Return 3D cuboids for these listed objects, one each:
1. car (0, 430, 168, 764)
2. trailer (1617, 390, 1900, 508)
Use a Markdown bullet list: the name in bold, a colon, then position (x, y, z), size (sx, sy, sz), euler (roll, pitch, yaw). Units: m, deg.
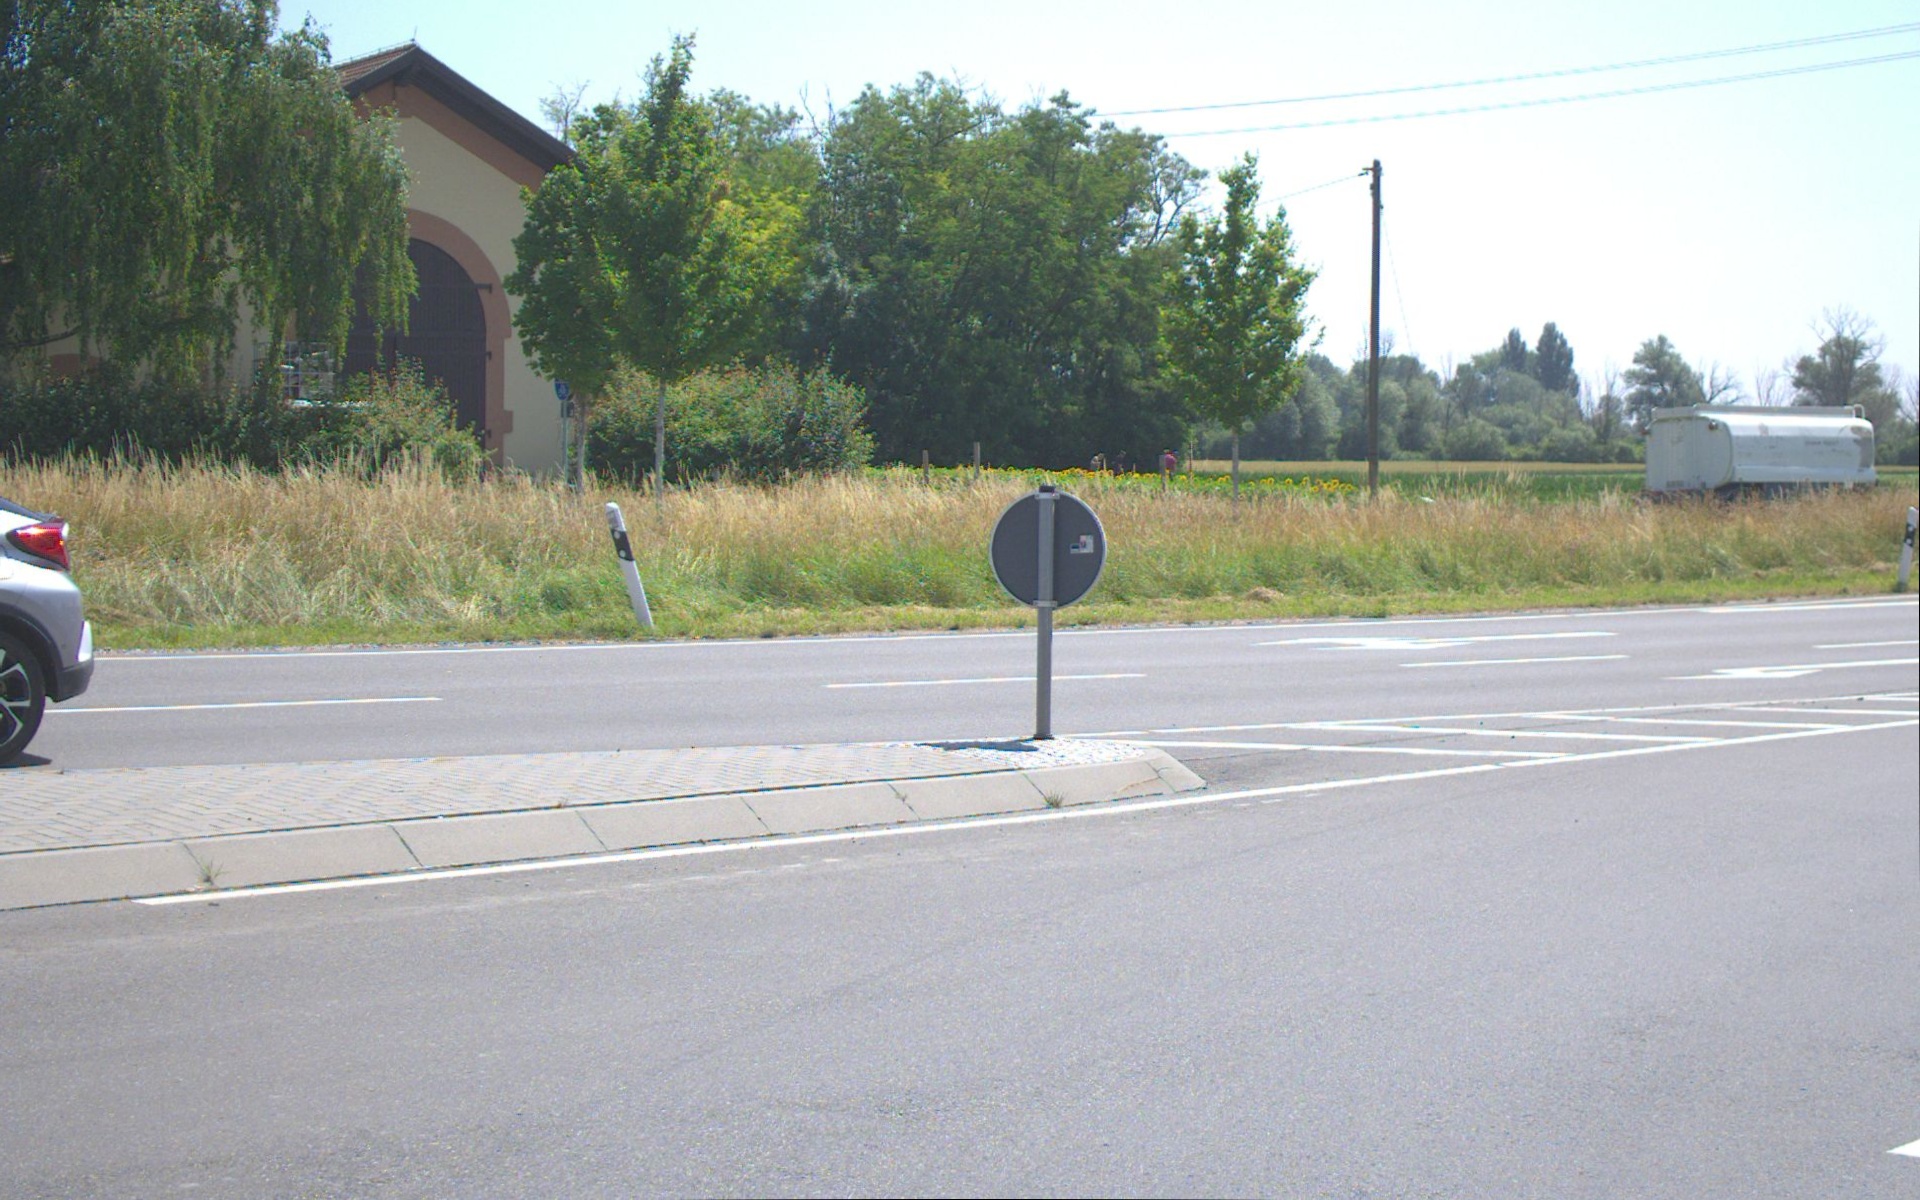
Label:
- **car**: position (-6.126, -0.046, 15.672), size (4.538, 1.538, 1.871), euler (-1, 3, -41)
- **trailer**: position (17.508, -3.319, 75.198), size (6.364, 2.447, 2.686), euler (-2, 4, -40)
